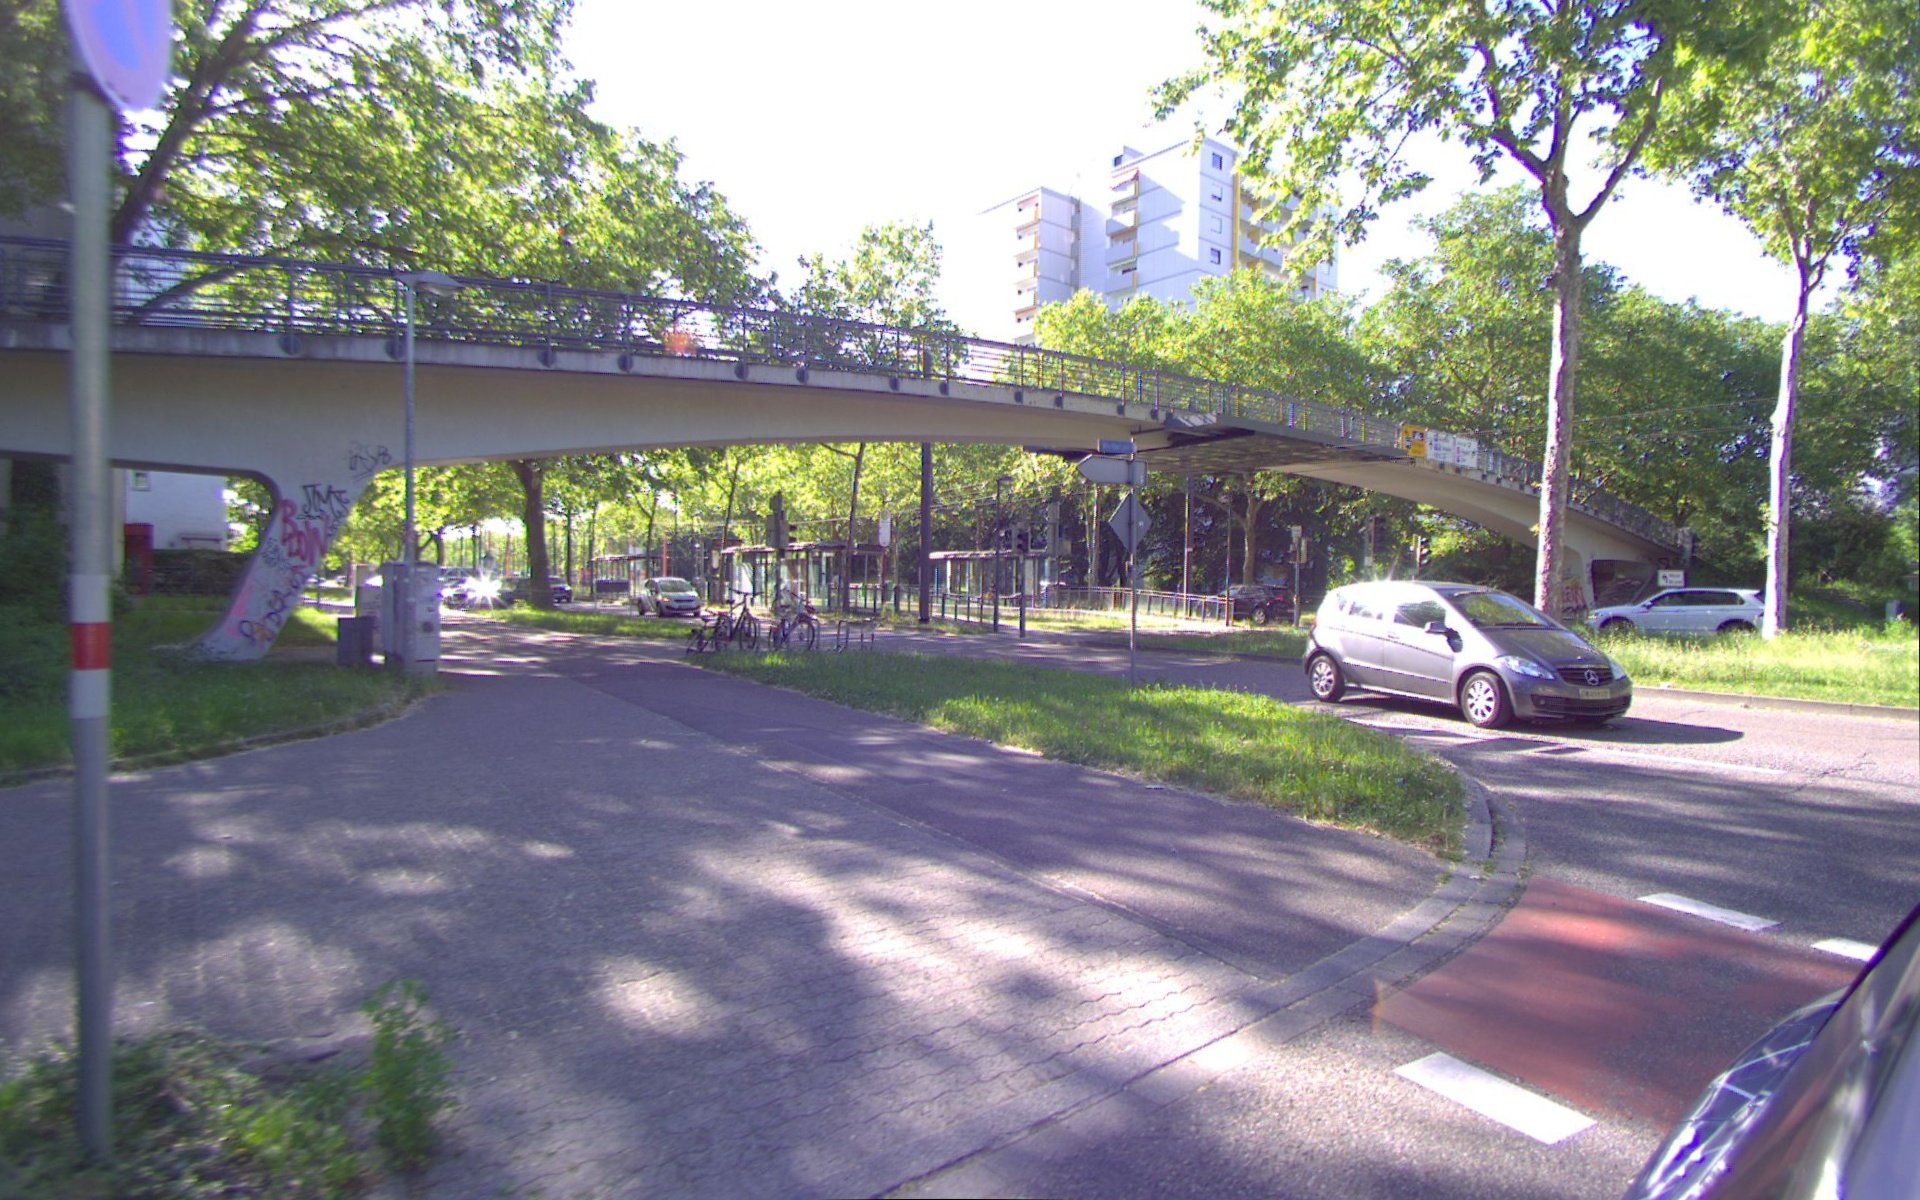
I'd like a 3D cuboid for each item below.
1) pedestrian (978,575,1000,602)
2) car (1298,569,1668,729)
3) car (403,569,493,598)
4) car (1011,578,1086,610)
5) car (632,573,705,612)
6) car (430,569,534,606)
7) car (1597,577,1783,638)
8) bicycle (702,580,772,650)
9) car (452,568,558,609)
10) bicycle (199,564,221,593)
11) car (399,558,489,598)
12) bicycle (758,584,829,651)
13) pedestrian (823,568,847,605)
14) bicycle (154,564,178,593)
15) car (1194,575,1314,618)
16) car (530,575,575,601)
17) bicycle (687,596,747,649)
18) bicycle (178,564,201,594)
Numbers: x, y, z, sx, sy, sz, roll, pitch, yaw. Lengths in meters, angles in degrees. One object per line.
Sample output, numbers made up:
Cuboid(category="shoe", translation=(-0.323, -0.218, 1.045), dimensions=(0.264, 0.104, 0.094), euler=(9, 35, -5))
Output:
Cuboid(category="pedestrian", translation=(1.393, -0.554, 48.734), dimensions=(0.765, 1.253, 0.722), euler=(0, 1, -35))
Cuboid(category="car", translation=(6.066, 0.462, 12.259), dimensions=(1.762, 1.609, 3.771), euler=(0, 1, -20))
Cuboid(category="car", translation=(-28.055, -0.873, 55.590), dimensions=(1.775, 1.441, 4.567), euler=(2, 0, 15))
Cuboid(category="car", translation=(4.714, -0.348, 54.570), dimensions=(1.765, 1.585, 4.290), euler=(0, 1, -33))
Cuboid(category="car", translation=(-12.301, -0.338, 42.563), dimensions=(1.766, 1.558, 4.000), euler=(1, 0, -35))
Cuboid(category="car", translation=(-21.245, -0.537, 45.166), dimensions=(1.775, 1.480, 4.233), euler=(2, 0, 16))
Cuboid(category="car", translation=(20.146, 0.149, 28.032), dimensions=(4.068, 1.529, 1.775), euler=(2, 1, 39))
Cuboid(category="bicycle", translation=(-4.113, 0.262, 18.570), dimensions=(0.580, 1.198, 1.800), euler=(4, -2, -34))
Cuboid(category="car", translation=(-17.839, -0.407, 39.912), dimensions=(1.773, 1.480, 3.985), euler=(2, 0, 12))
Cuboid(category="bicycle", translation=(-29.672, -0.840, 40.049), dimensions=(0.580, 1.121, 1.801), euler=(0, 1, -33))
Cuboid(category="car", translation=(-29.927, -1.252, 58.858), dimensions=(1.990, 2.078, 4.565), euler=(2, 0, 16))
Cuboid(category="bicycle", translation=(-3.176, 0.308, 19.159), dimensions=(0.580, 1.198, 1.800), euler=(4, -2, -34))
Cuboid(category="pedestrian", translation=(-4.941, -0.540, 39.916), dimensions=(0.713, 1.435, 0.682), euler=(-1, 1, -34))
Cuboid(category="bicycle", translation=(-30.832, -0.839, 39.305), dimensions=(0.580, 1.121, 1.801), euler=(0, 1, -33))
Cuboid(category="car", translation=(11.467, -0.171, 39.714), dimensions=(1.768, 1.585, 4.284), euler=(0, 1, -39))
Cuboid(category="car", translation=(-25.573, -0.785, 63.450), dimensions=(1.766, 1.529, 4.001), euler=(-2, 2, -34))
Cuboid(category="bicycle", translation=(-4.256, 0.388, 17.687), dimensions=(0.497, 0.863, 1.474), euler=(4, -2, -34))
Cuboid(category="bicycle", translation=(-30.245, -0.832, 39.717), dimensions=(0.580, 1.121, 1.801), euler=(0, 1, -33))
